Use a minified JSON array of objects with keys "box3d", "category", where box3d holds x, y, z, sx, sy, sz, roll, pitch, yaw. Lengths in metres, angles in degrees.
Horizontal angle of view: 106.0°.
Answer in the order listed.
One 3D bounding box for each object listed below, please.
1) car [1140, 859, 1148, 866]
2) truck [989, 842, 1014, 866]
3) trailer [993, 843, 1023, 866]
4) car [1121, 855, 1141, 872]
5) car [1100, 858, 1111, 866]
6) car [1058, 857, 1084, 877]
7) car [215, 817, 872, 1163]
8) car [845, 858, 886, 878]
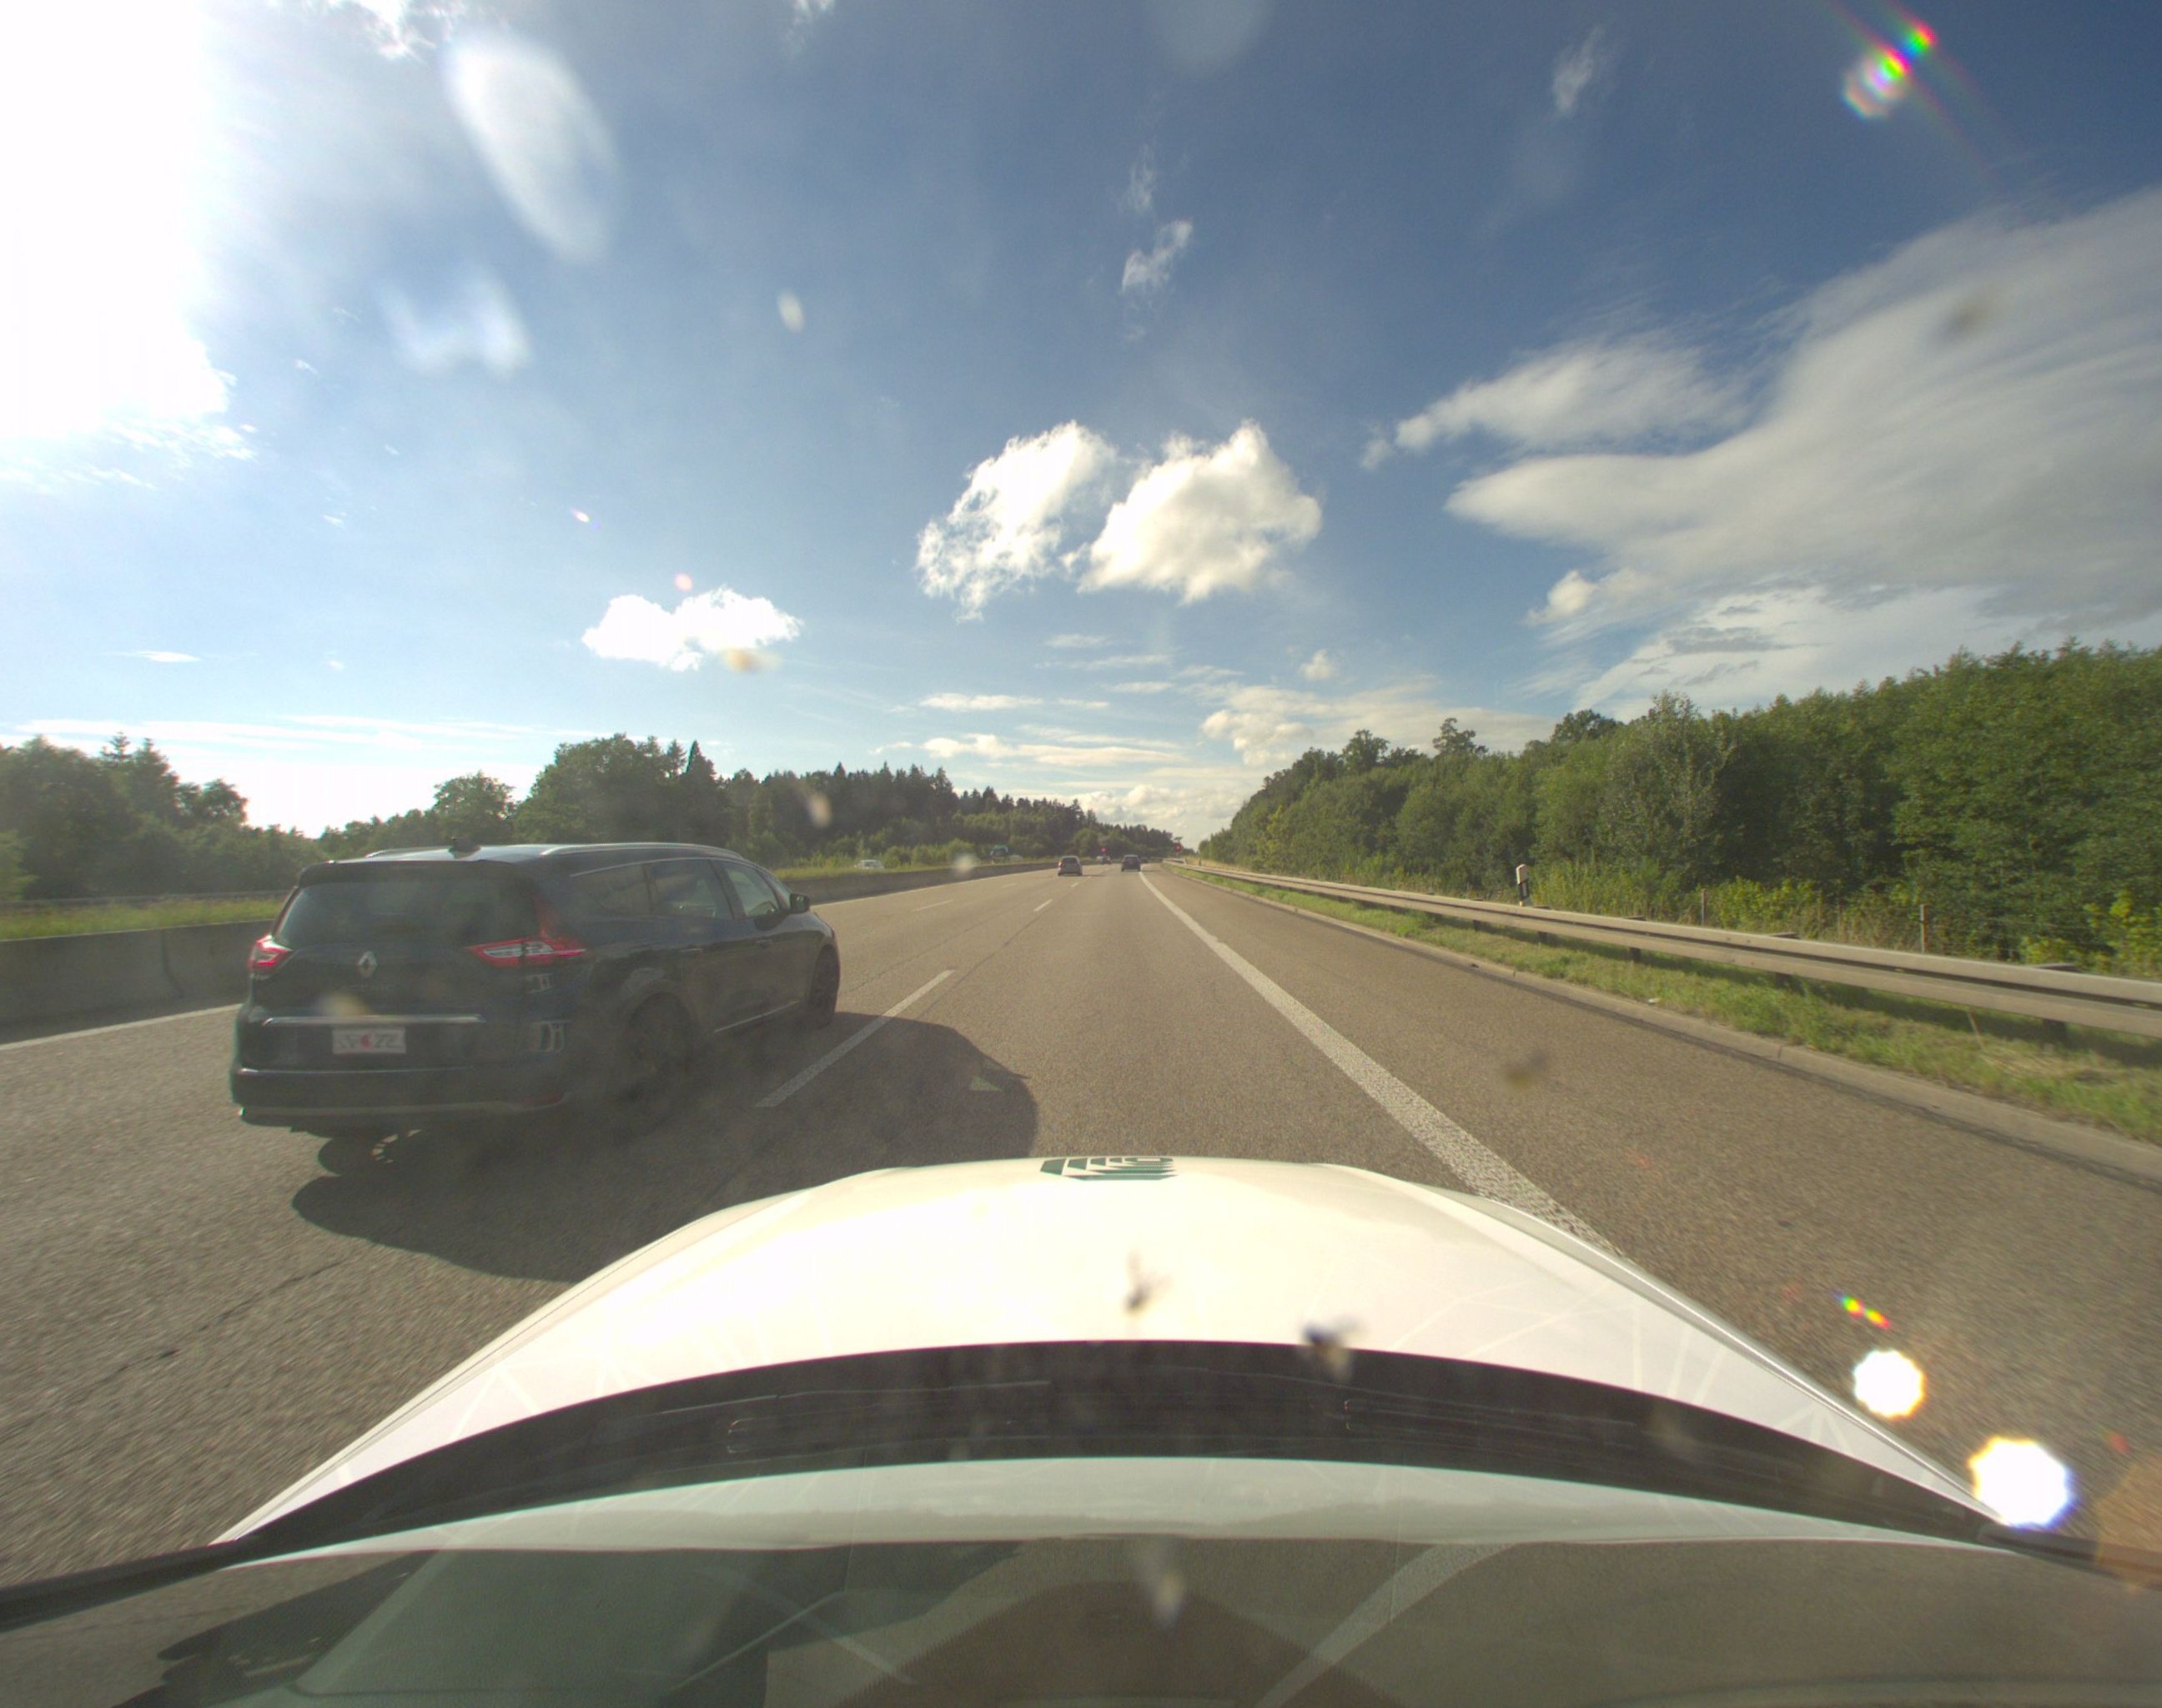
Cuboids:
[{"box3d":[14.792,1.964,191.218,1.802,1.706,4.008,-1,0,7],"category":"car"},{"box3d":[-13.850,0.049,142.317,3.360,4.009,5.869,-1,0,4],"category":"truck"},{"box3d":[-13.303,0.094,150.130,3.360,4.009,13.654,-1,0,4],"category":"trailer"},{"box3d":[4.952,0.935,81.719,1.867,1.675,3.891,-1,0,1],"category":"car"},{"box3d":[5.134,1.645,171.066,1.863,1.497,3.888,-1,0,7],"category":"car"},{"box3d":[-0.751,1.040,64.766,1.866,1.497,3.882,-1,0,2],"category":"car"},{"box3d":[-3.280,0.686,6.343,1.986,1.707,4.531,-1,0,2],"category":"car"},{"box3d":[-16.249,1.051,61.689,1.833,1.457,4.003,-1,0,3],"category":"car"}]
